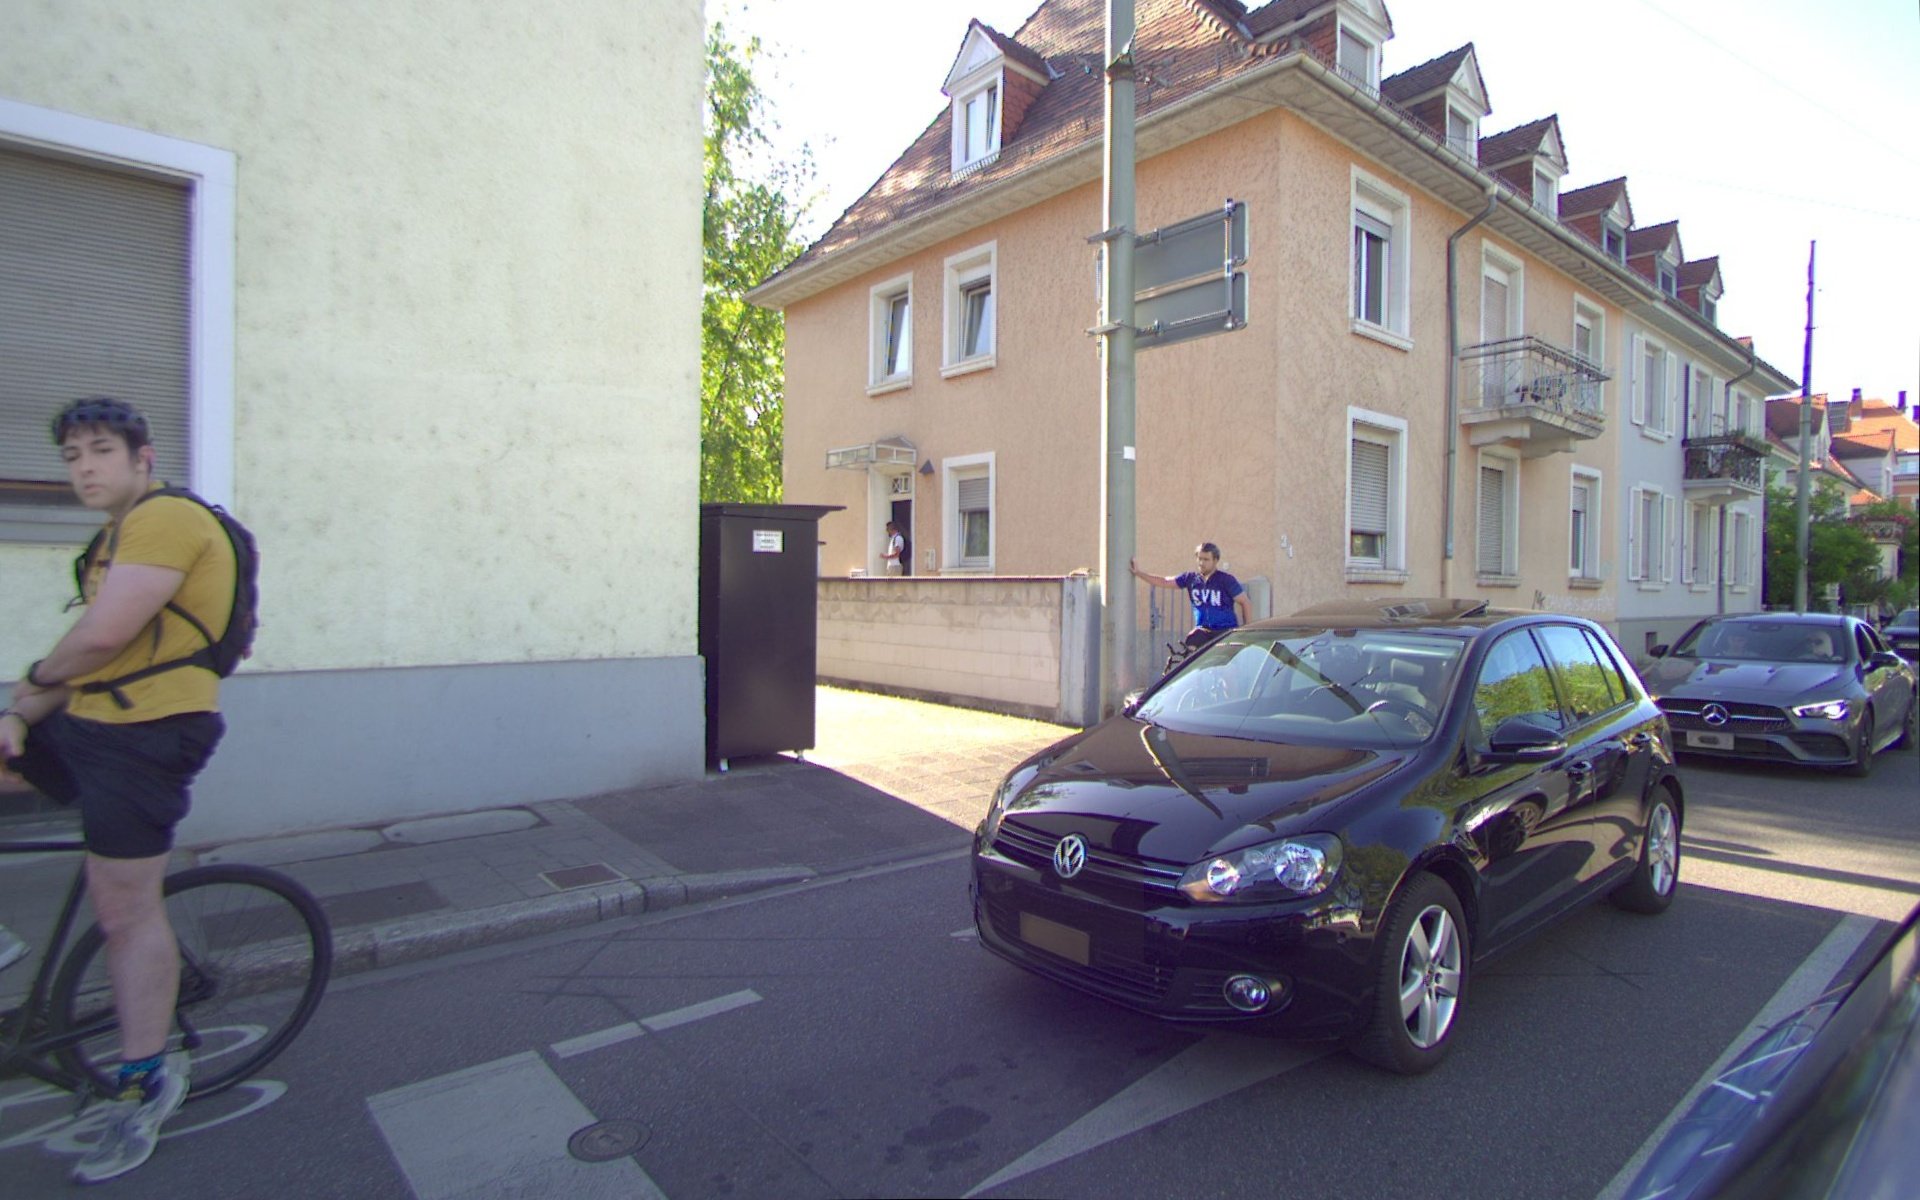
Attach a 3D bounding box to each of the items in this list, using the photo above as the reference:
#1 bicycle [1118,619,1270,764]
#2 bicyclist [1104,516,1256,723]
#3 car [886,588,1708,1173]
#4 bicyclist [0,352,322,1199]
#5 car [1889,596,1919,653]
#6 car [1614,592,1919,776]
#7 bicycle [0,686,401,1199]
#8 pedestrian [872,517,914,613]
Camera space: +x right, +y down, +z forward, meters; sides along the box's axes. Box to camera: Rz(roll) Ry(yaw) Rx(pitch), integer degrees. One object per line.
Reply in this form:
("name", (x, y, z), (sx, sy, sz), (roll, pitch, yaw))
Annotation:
("bicycle", (2.103, 0.756, 8.974), (0.554, 1.088, 1.601), (6, 4, 42))
("bicyclist", (1.968, 0.139, 9.096), (1.018, 1.714, 0.718), (6, 4, 42))
("car", (1.752, 0.686, 4.487), (3.921, 1.456, 1.716), (-1, 0, -41))
("bicyclist", (-2.326, 0.431, 2.745), (0.777, 1.991, 0.768), (0, 0, 36))
("car", (26.765, 0.626, 27.430), (4.258, 1.448, 1.824), (-1, 0, -40))
("car", (8.354, 0.690, 10.148), (4.410, 1.449, 1.824), (1, 0, -40))
("bicycle", (-2.501, 0.862, 2.583), (0.777, 1.120, 1.720), (0, 0, 36))
("pedestrian", (-1.209, -0.637, 18.108), (0.598, 1.624, 0.763), (3, 5, -8))
